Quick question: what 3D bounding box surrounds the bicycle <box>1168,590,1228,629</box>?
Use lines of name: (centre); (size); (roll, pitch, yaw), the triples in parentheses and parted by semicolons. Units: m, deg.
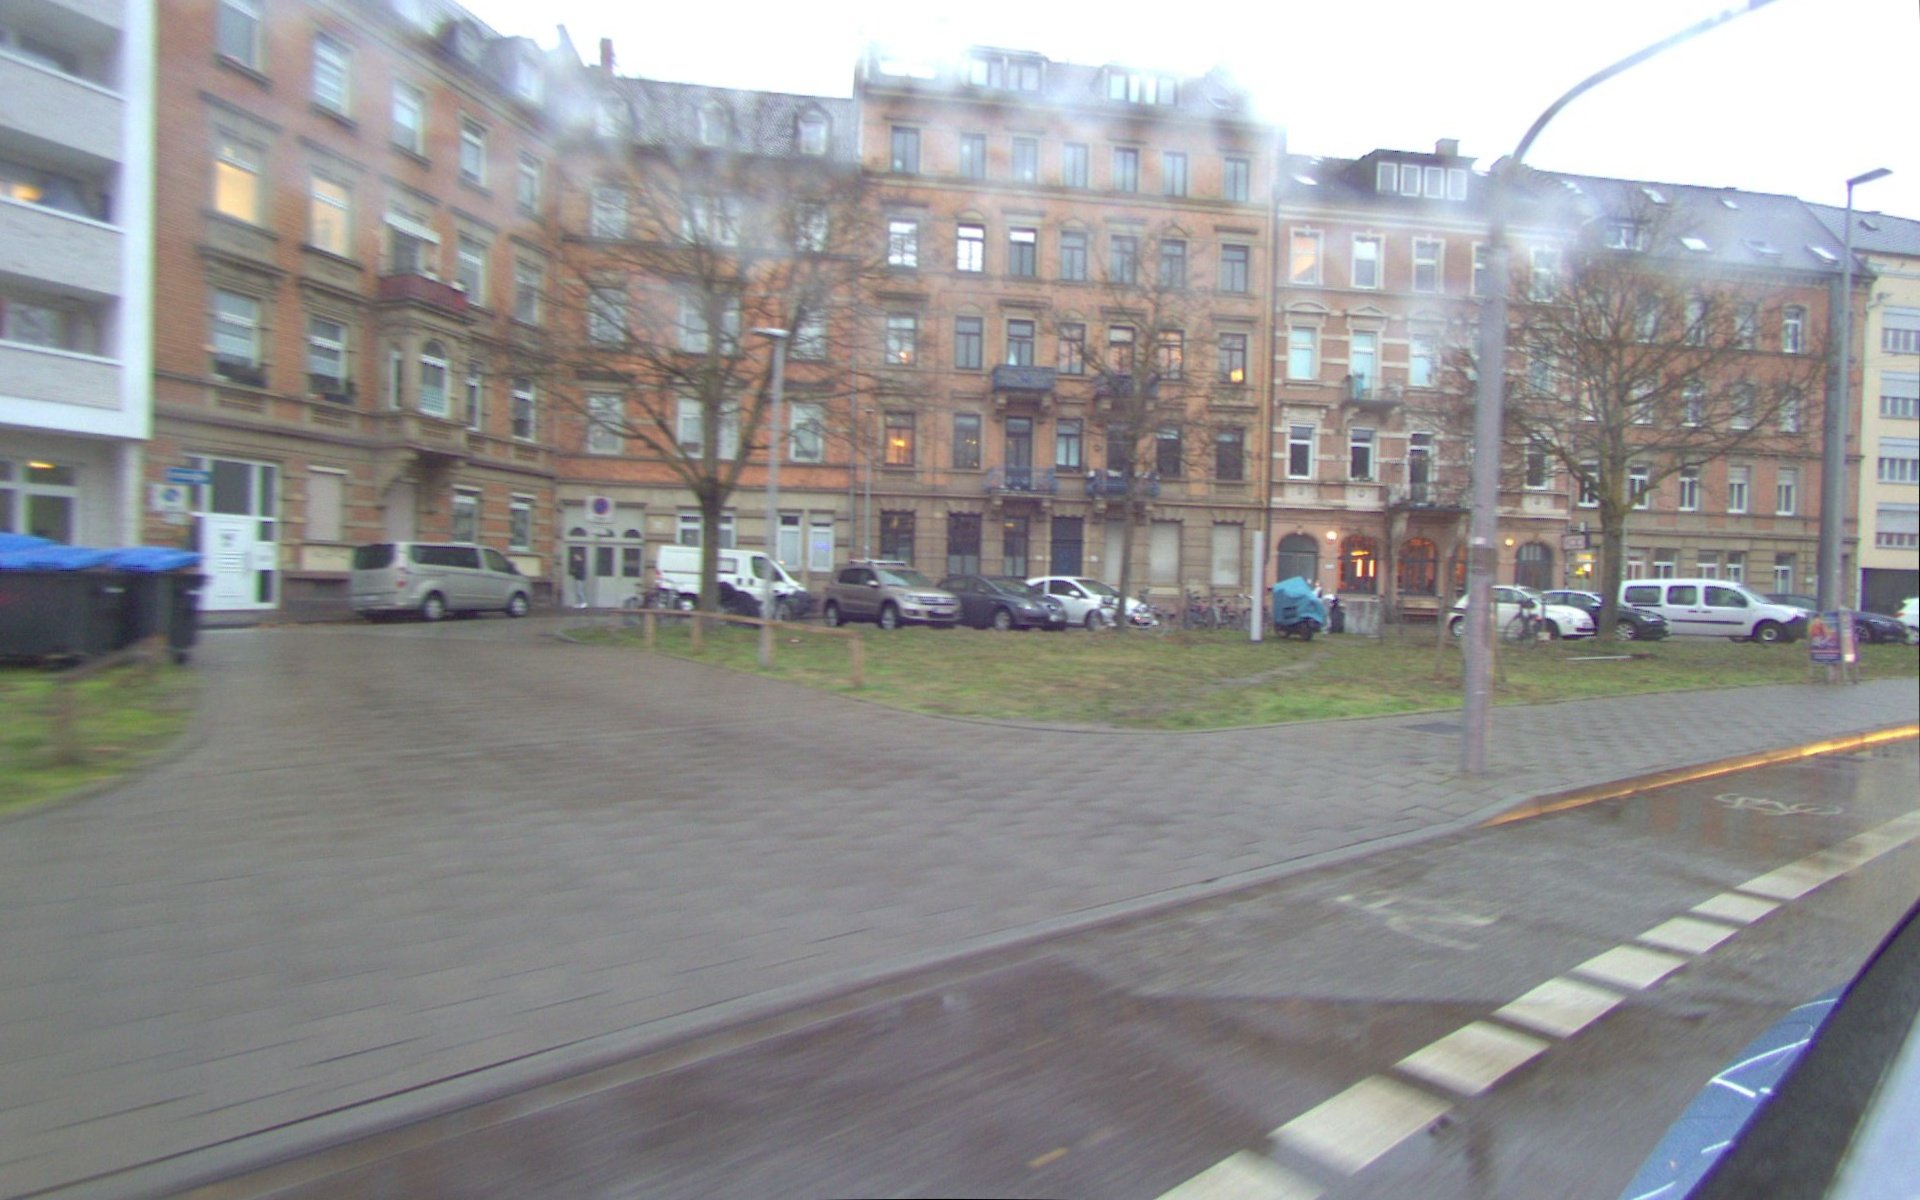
bicycle: (6.427, 0.245, 27.456); (0.613, 0.978, 2.175); (3, -1, -14)

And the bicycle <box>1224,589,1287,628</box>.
bicycle: (8.085, 0.209, 27.818); (0.613, 0.978, 2.176); (1, 2, -14)

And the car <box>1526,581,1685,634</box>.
car: (18.019, 0.178, 28.356); (1.634, 1.368, 3.428); (1, 0, -40)

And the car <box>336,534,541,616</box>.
car: (-13.413, -0.548, 26.401); (1.974, 1.943, 4.718); (-1, -1, 19)

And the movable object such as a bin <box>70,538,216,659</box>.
movable object such as a bin: (-10.568, -0.008, 13.132); (1.022, 1.509, 1.036); (0, -1, 4)

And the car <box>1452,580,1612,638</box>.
car: (15.483, 0.234, 27.519); (1.584, 1.461, 3.465); (1, -1, -36)

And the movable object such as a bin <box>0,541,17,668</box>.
movable object such as a bin: (-12.125, 0.053, 11.793); (1.302, 1.514, 1.032); (0, 0, -5)

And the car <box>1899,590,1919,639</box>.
car: (29.904, 0.415, 29.229); (1.727, 1.451, 3.775); (1, -1, -34)

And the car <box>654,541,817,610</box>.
car: (-7.140, -0.800, 32.394); (4.883, 2.038, 2.005); (1, 2, -12)

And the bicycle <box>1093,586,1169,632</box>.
bicycle: (3.832, 0.197, 22.639); (1.627, 0.948, 0.512); (2, 1, 13)

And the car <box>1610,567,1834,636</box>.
car: (21.151, -0.022, 28.276); (1.745, 1.612, 4.661); (0, 3, -39)

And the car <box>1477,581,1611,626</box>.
car: (21.037, 0.141, 36.513); (3.966, 1.520, 1.740); (1, -1, -10)

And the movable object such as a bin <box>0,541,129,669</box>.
movable object such as a bin: (-10.852, 0.039, 11.982); (1.199, 1.433, 1.018); (2, 2, -4)

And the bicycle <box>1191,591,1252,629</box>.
bicycle: (7.115, 0.270, 27.645); (0.613, 0.978, 2.175); (3, -1, -14)

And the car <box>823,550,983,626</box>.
car: (-1.465, -0.351, 24.474); (1.909, 1.656, 3.998); (0, 3, -38)

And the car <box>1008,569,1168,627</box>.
car: (3.186, -0.087, 25.697); (1.670, 1.353, 3.851); (1, 1, -43)

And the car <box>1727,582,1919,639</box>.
car: (24.172, 0.254, 28.228); (1.737, 1.250, 4.064); (2, 3, -37)

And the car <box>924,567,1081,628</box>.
car: (0.990, -0.067, 24.774); (1.649, 1.372, 3.735); (2, -1, -44)
